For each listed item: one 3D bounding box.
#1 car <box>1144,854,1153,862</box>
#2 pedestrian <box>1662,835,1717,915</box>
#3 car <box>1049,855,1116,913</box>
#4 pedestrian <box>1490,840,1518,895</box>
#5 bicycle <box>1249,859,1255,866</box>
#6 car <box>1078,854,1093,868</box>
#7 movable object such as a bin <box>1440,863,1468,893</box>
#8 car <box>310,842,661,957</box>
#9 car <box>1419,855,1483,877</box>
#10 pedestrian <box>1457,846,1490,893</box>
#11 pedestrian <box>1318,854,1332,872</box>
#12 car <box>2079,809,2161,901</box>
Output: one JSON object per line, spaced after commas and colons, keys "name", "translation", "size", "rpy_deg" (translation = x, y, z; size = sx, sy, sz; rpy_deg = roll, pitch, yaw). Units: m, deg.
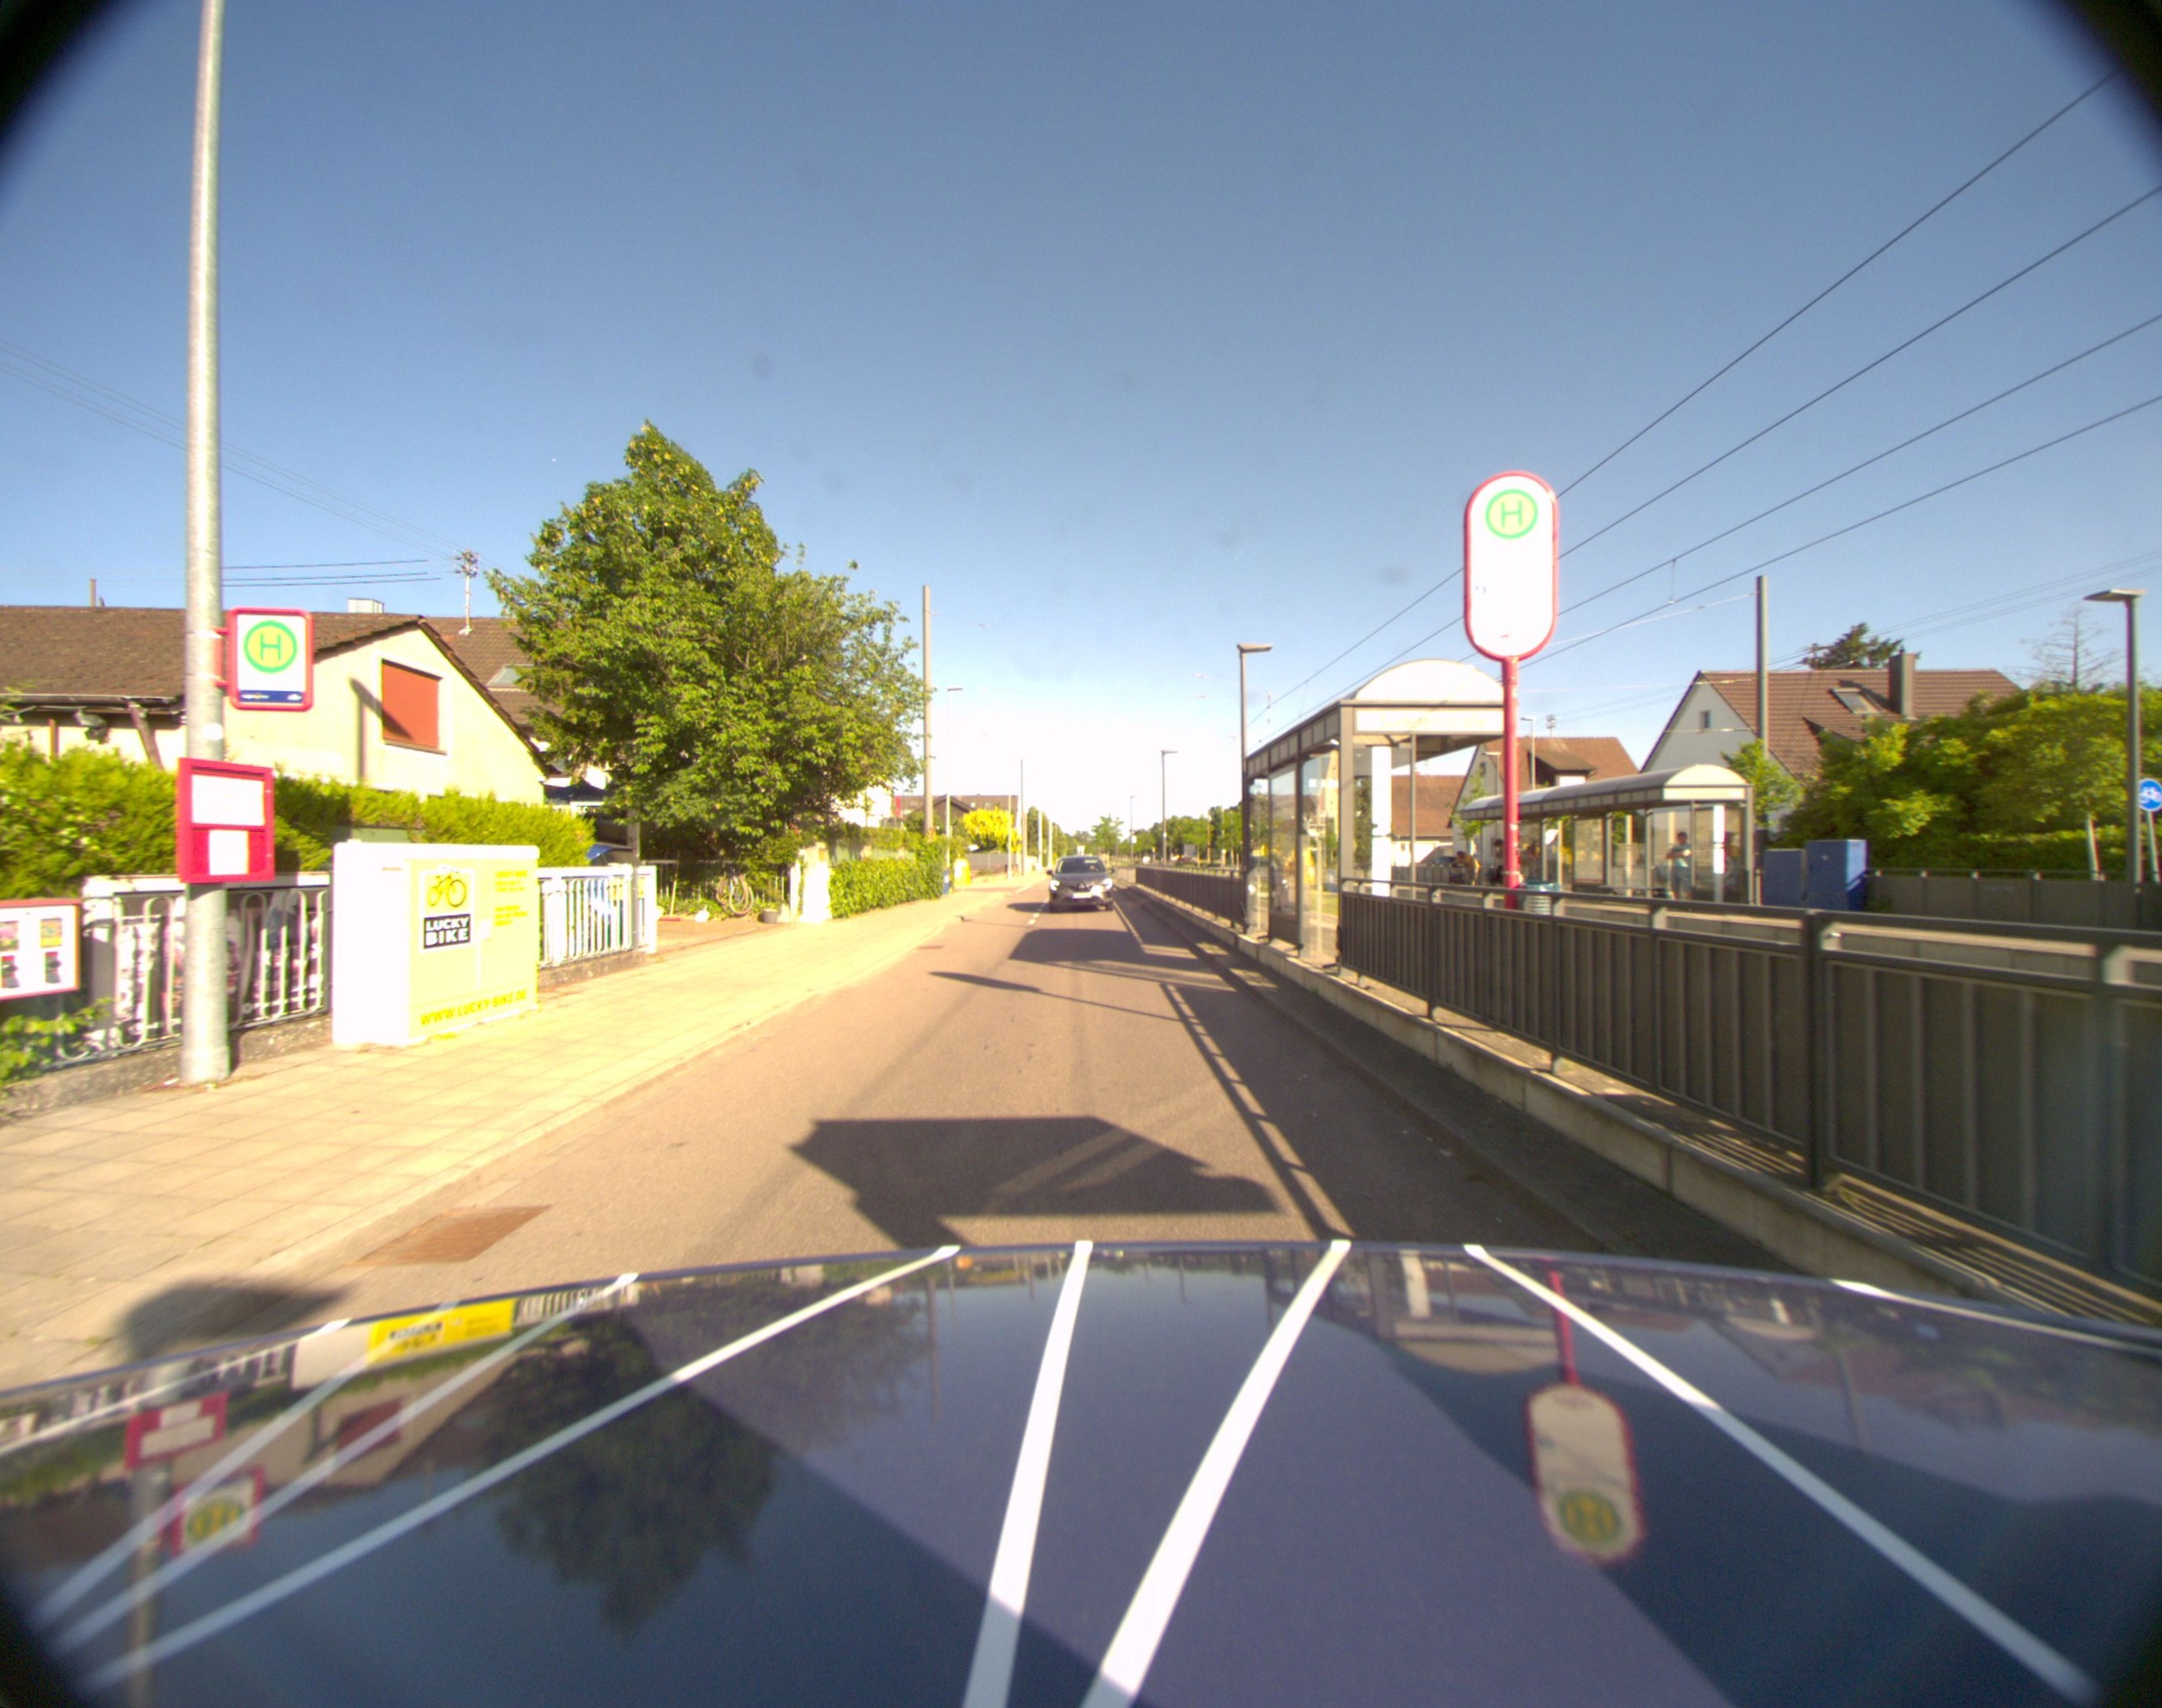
{"name": "car", "translation": [15.756, 0.912, 178.129], "size": [1.902, 1.903, 4.702], "rpy_deg": [0, 0, 1]}
{"name": "pedestrian", "translation": [13.179, 0.451, 16.473], "size": [0.501, 1.686, 0.771], "rpy_deg": [2, 0, 1]}
{"name": "car", "translation": [-0.013, 0.853, 23.405], "size": [1.868, 1.614, 3.999], "rpy_deg": [-1, 0, -1]}
{"name": "pedestrian", "translation": [13.164, 0.414, 23.661], "size": [0.521, 1.698, 0.581], "rpy_deg": [0, 0, -4]}
{"name": "bicycle", "translation": [23.495, 1.163, 104.505], "size": [0.424, 0.936, 1.748], "rpy_deg": [-2, 1, 0]}
{"name": "car", "translation": [0.658, 0.925, 107.918], "size": [1.998, 1.824, 4.000], "rpy_deg": [-2, 1, 1]}
{"name": "movable object such as a bin", "translation": [12.225, 0.776, 24.920], "size": [0.548, 0.982, 0.741], "rpy_deg": [0, 0, -4]}
{"name": "car", "translation": [-8.729, 0.652, 11.477], "size": [3.773, 1.560, 1.750], "rpy_deg": [1, 0, -10]}
{"name": "car", "translation": [25.873, 0.814, 53.361], "size": [1.939, 1.441, 5.162], "rpy_deg": [0, 0, 0]}
{"name": "pedestrian", "translation": [12.858, 0.510, 24.910], "size": [0.677, 1.527, 0.749], "rpy_deg": [0, 0, -4]}
{"name": "pedestrian", "translation": [22.282, 0.827, 69.476], "size": [0.967, 1.631, 1.085], "rpy_deg": [0, 1, 0]}
{"name": "car", "translation": [24.844, -0.048, 16.619], "size": [3.999, 1.958, 1.931], "rpy_deg": [-2, 1, -7]}
